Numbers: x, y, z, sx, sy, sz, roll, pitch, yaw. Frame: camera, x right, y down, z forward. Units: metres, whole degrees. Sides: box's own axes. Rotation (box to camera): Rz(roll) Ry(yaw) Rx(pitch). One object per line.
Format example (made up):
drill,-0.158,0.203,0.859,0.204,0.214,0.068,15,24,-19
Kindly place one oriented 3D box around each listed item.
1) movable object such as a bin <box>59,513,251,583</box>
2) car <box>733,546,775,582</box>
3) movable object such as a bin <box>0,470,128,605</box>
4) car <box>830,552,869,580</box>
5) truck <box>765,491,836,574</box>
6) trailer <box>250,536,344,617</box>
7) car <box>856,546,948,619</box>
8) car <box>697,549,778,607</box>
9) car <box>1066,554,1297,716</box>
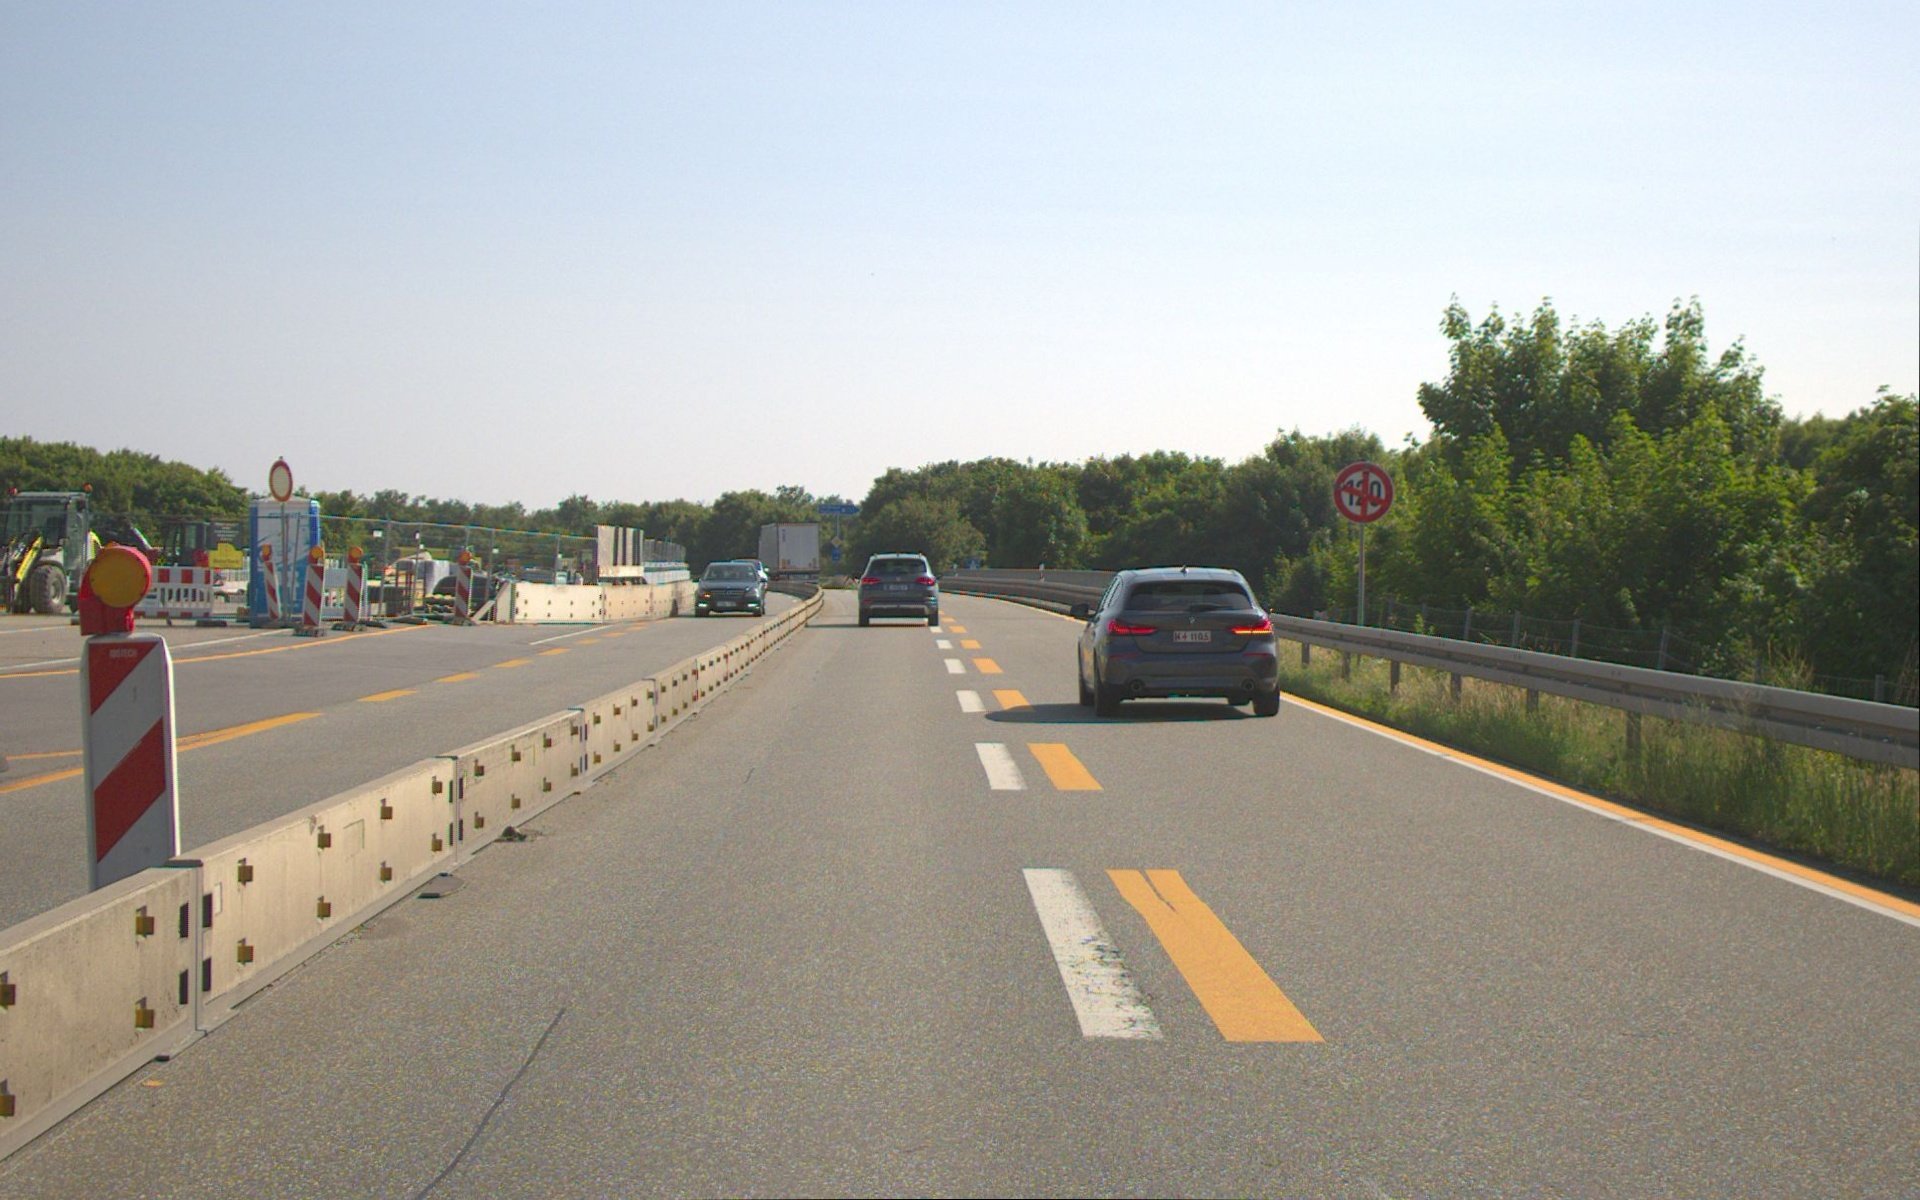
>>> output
movable object such as a bin,-24.858,-1.606,106.135,5.397,2.109,2.236,0,1,18
car,-9.883,-1.747,164.946,1.981,1.645,4.549,1,1,-3
movable object such as a bin,-19.142,-1.302,71.622,2.031,2.706,5.107,0,1,4
car,-6.887,-2.120,214.357,1.993,1.682,4.001,1,1,-8
truck,-9.830,-4.138,210.737,3.760,4.894,14.139,1,1,-5
trailer,-14.246,-0.520,74.032,1.719,1.643,3.535,2,1,-7
car,-1.279,-0.411,77.247,1.993,1.561,4.000,0,1,0
car,-5.948,-0.603,92.386,1.859,1.468,4.684,1,1,0
car,2.148,0.302,34.393,1.920,1.488,4.000,0,1,-2
